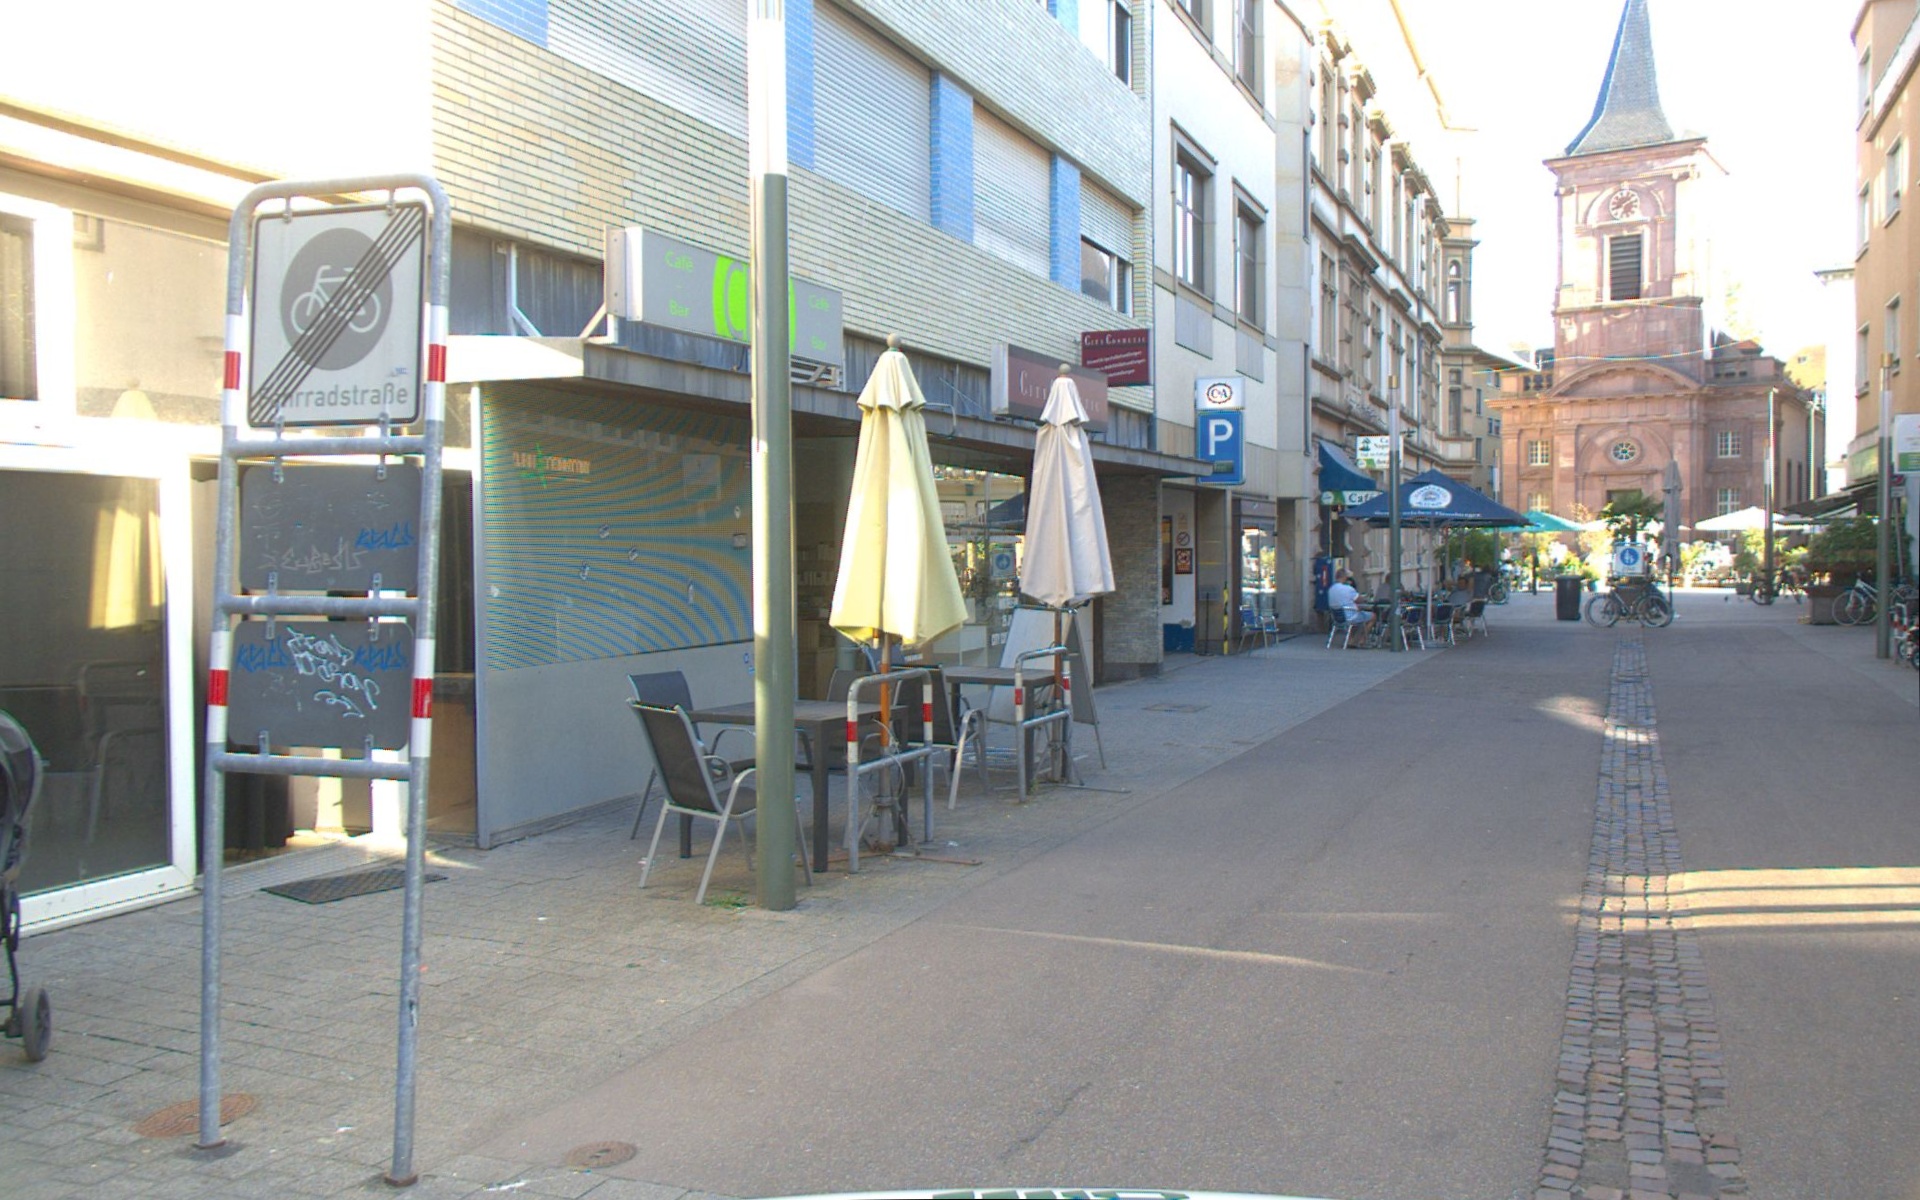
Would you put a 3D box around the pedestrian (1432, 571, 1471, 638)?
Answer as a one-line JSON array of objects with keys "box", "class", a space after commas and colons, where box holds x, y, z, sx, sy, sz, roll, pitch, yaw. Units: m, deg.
[{"box": [9.162, 0.084, 30.848, 0.677, 1.236, 0.584, 0, 1, 14], "class": "pedestrian"}]

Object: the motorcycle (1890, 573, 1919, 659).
[{"box": [13.842, 0.217, 23.083, 1.459, 1.202, 0.410, 0, 1, 38], "class": "motorcycle"}]

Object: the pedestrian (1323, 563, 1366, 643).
[{"box": [6.809, 0.040, 29.306, 0.702, 1.392, 0.711, 0, 1, 10], "class": "pedestrian"}]

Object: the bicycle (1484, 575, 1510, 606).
[{"box": [15.798, -0.287, 48.623, 0.447, 0.864, 2.145, 0, 2, 25], "class": "bicycle"}]

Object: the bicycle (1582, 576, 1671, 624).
[{"box": [14.466, 0.005, 35.942, 1.786, 1.022, 0.381, 0, 1, 19], "class": "bicycle"}]

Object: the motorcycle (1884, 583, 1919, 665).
[{"box": [13.286, 0.318, 22.240, 1.461, 1.094, 0.410, 0, 1, 41], "class": "motorcycle"}]

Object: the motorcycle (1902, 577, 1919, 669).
[{"box": [13.118, 0.299, 21.355, 1.600, 1.195, 0.478, 0, 1, 41], "class": "motorcycle"}]

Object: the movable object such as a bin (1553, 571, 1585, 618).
[{"box": [14.548, -0.136, 39.527, 0.706, 1.093, 0.374, 0, 1, 21], "class": "movable object such as a bin"}]

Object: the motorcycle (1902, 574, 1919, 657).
[{"box": [14.407, 0.221, 23.780, 1.459, 1.202, 0.410, 0, 1, 38], "class": "motorcycle"}]

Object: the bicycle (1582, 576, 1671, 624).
[{"box": [14.619, -0.003, 36.306, 1.786, 1.022, 0.381, 0, 1, 19], "class": "bicycle"}]

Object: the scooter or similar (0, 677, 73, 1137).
[{"box": [-3.039, 0.858, 4.755, 0.787, 1.163, 0.946, -1, 3, -26], "class": "scooter or similar"}]

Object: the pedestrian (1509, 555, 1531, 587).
[{"box": [21.456, -1.110, 63.364, 0.687, 1.239, 0.718, 0, 1, 28], "class": "pedestrian"}]

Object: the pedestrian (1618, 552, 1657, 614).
[{"box": [16.421, -0.423, 40.091, 0.866, 1.489, 0.731, 0, 1, 23], "class": "pedestrian"}]

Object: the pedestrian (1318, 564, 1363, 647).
[{"box": [6.464, 0.084, 28.117, 0.693, 1.392, 0.720, 0, 1, 10], "class": "pedestrian"}]

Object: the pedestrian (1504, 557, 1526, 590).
[{"box": [20.827, -1.009, 62.078, 0.687, 1.239, 0.718, 0, 1, 28], "class": "pedestrian"}]

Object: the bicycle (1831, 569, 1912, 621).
[{"box": [18.630, -0.110, 33.805, 1.436, 1.022, 0.572, 0, 2, 30], "class": "bicycle"}]

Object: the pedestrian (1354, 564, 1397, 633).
[{"box": [7.700, -0.041, 30.660, 0.748, 1.254, 0.832, 0, 1, 14], "class": "pedestrian"}]
